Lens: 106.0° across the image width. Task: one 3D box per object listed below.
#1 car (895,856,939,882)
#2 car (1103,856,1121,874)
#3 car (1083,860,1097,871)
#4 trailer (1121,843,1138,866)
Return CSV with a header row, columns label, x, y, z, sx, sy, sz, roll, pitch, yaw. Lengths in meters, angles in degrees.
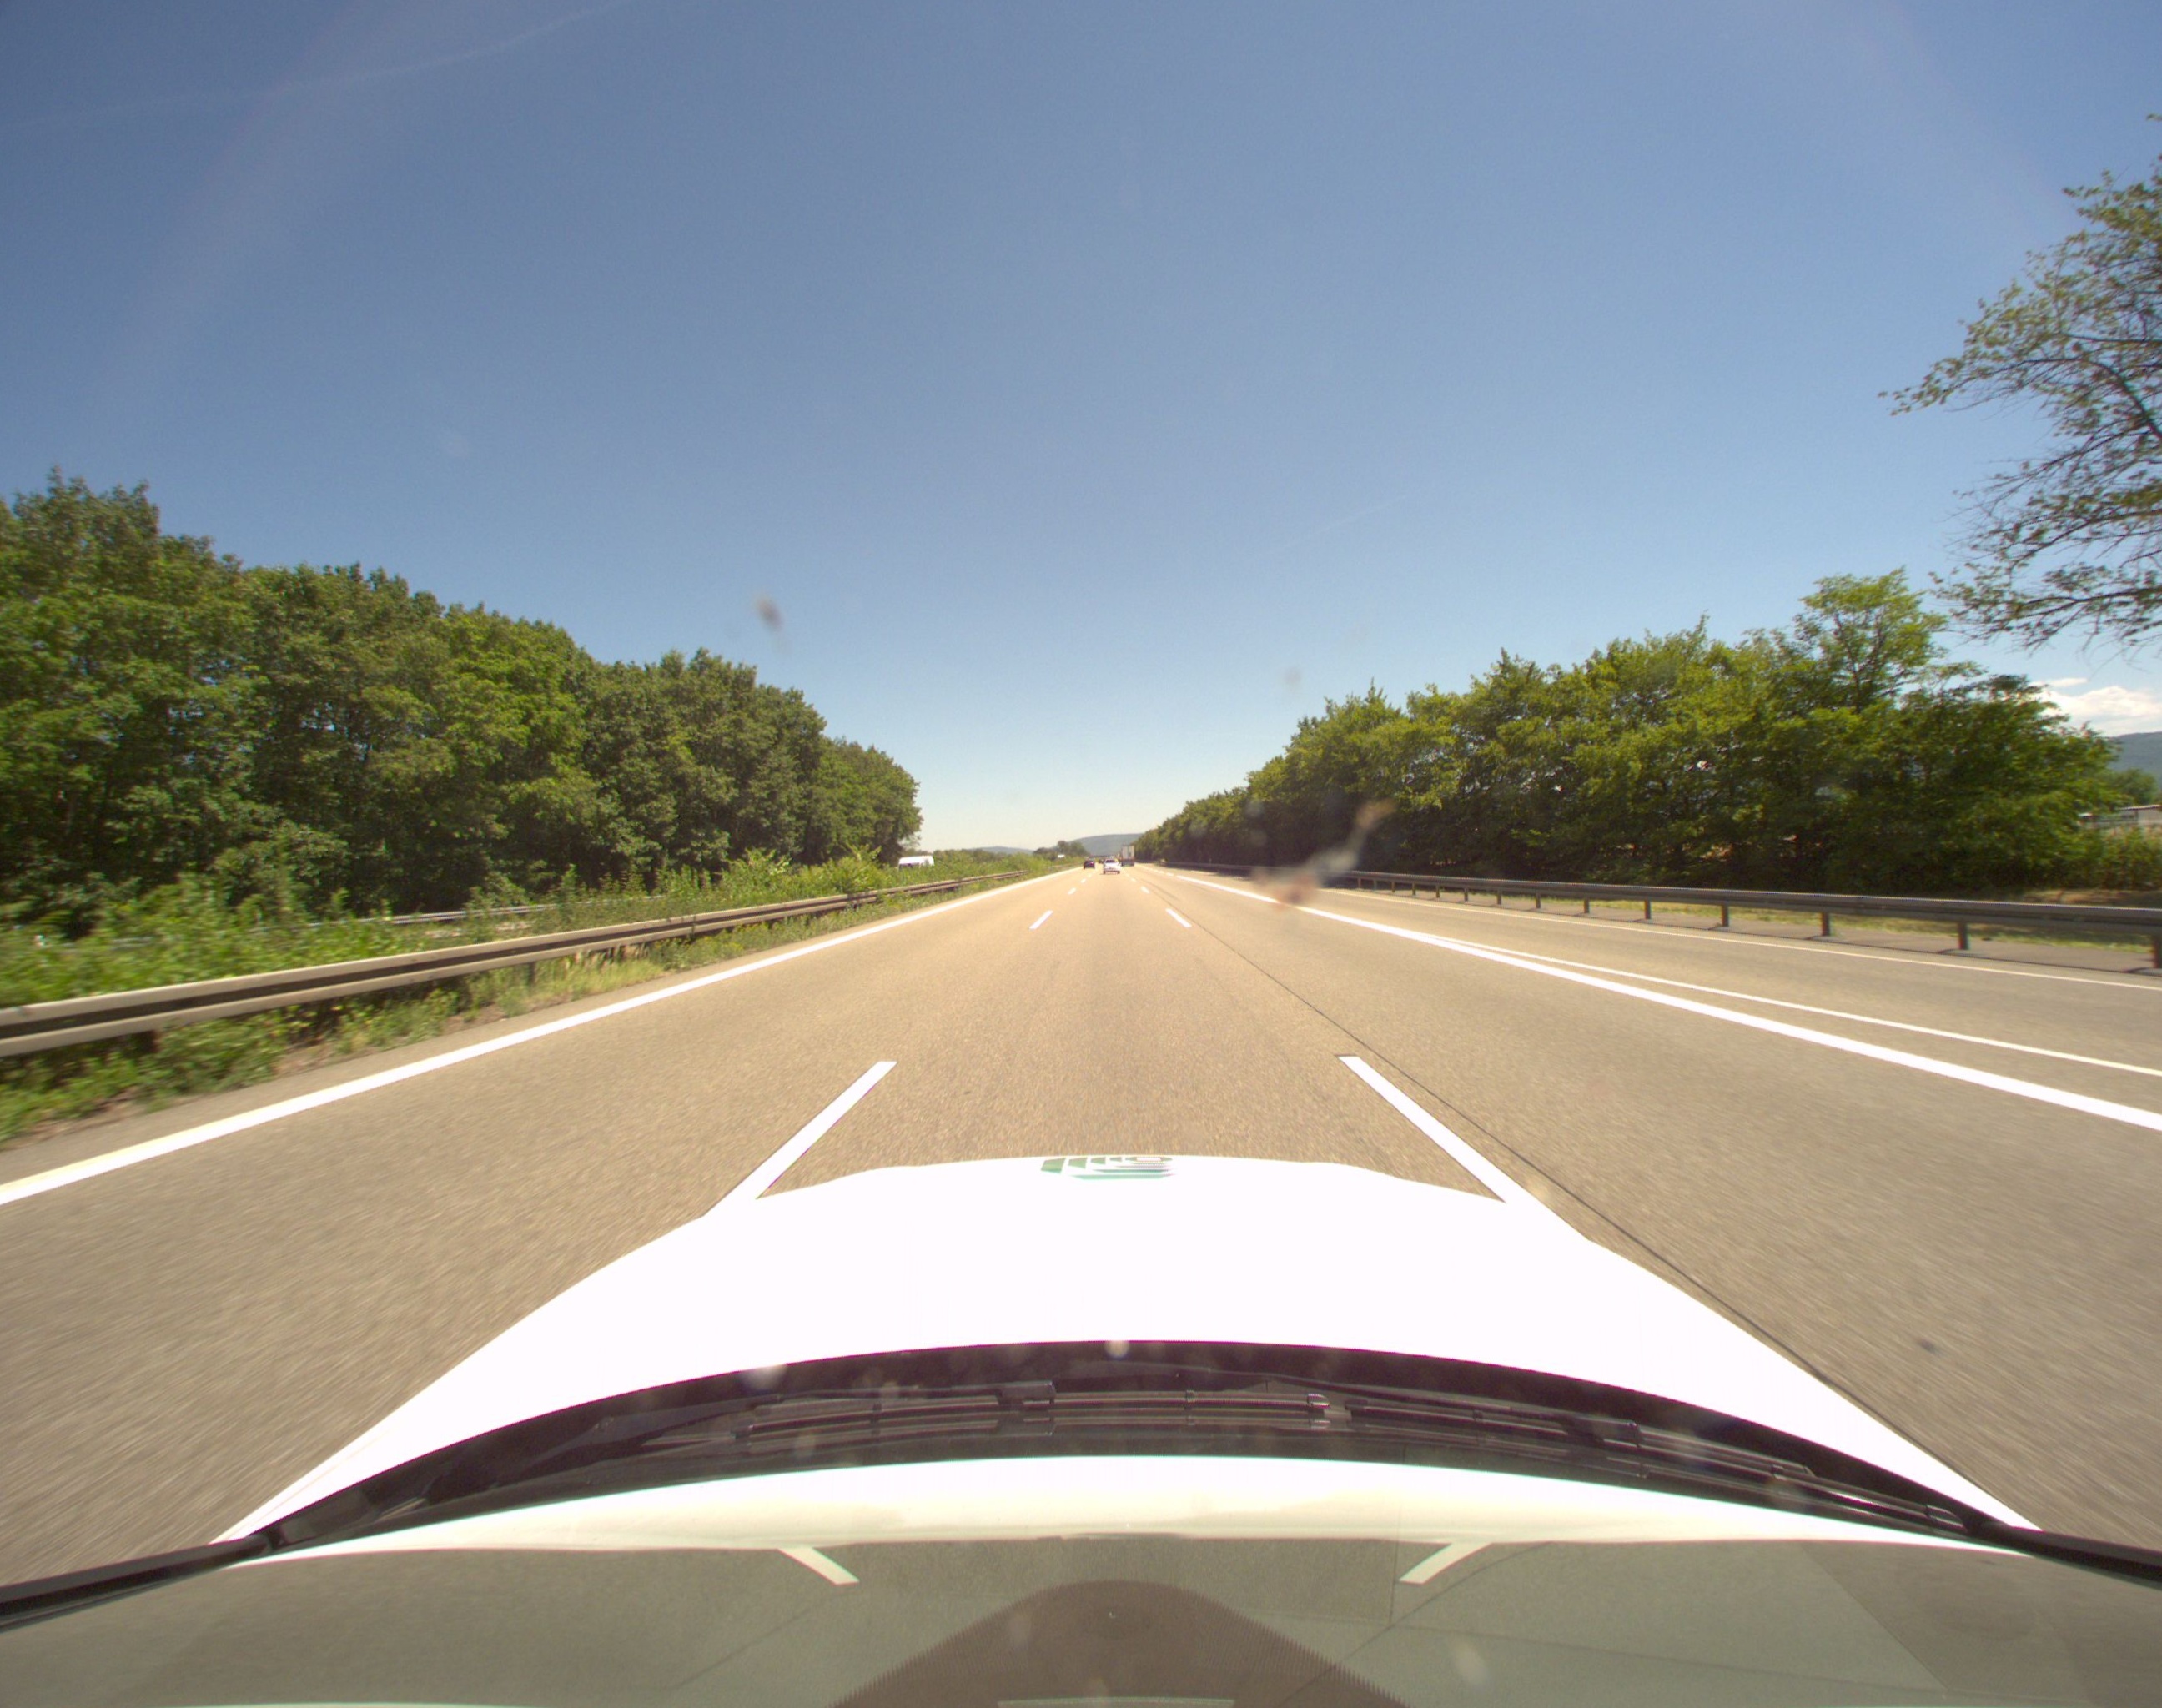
label,x,y,z,sx,sy,sz,roll,pitch,yaw
car,-13.850,1.220,69.090,2.138,2.054,6.636,0,-1,2
car,3.102,1.078,82.054,1.726,1.684,4.001,-2,0,1
car,1.429,1.814,126.885,1.986,1.712,4.001,0,-1,1
trailer,9.842,0.209,164.217,3.203,4.345,13.645,-1,-1,5
